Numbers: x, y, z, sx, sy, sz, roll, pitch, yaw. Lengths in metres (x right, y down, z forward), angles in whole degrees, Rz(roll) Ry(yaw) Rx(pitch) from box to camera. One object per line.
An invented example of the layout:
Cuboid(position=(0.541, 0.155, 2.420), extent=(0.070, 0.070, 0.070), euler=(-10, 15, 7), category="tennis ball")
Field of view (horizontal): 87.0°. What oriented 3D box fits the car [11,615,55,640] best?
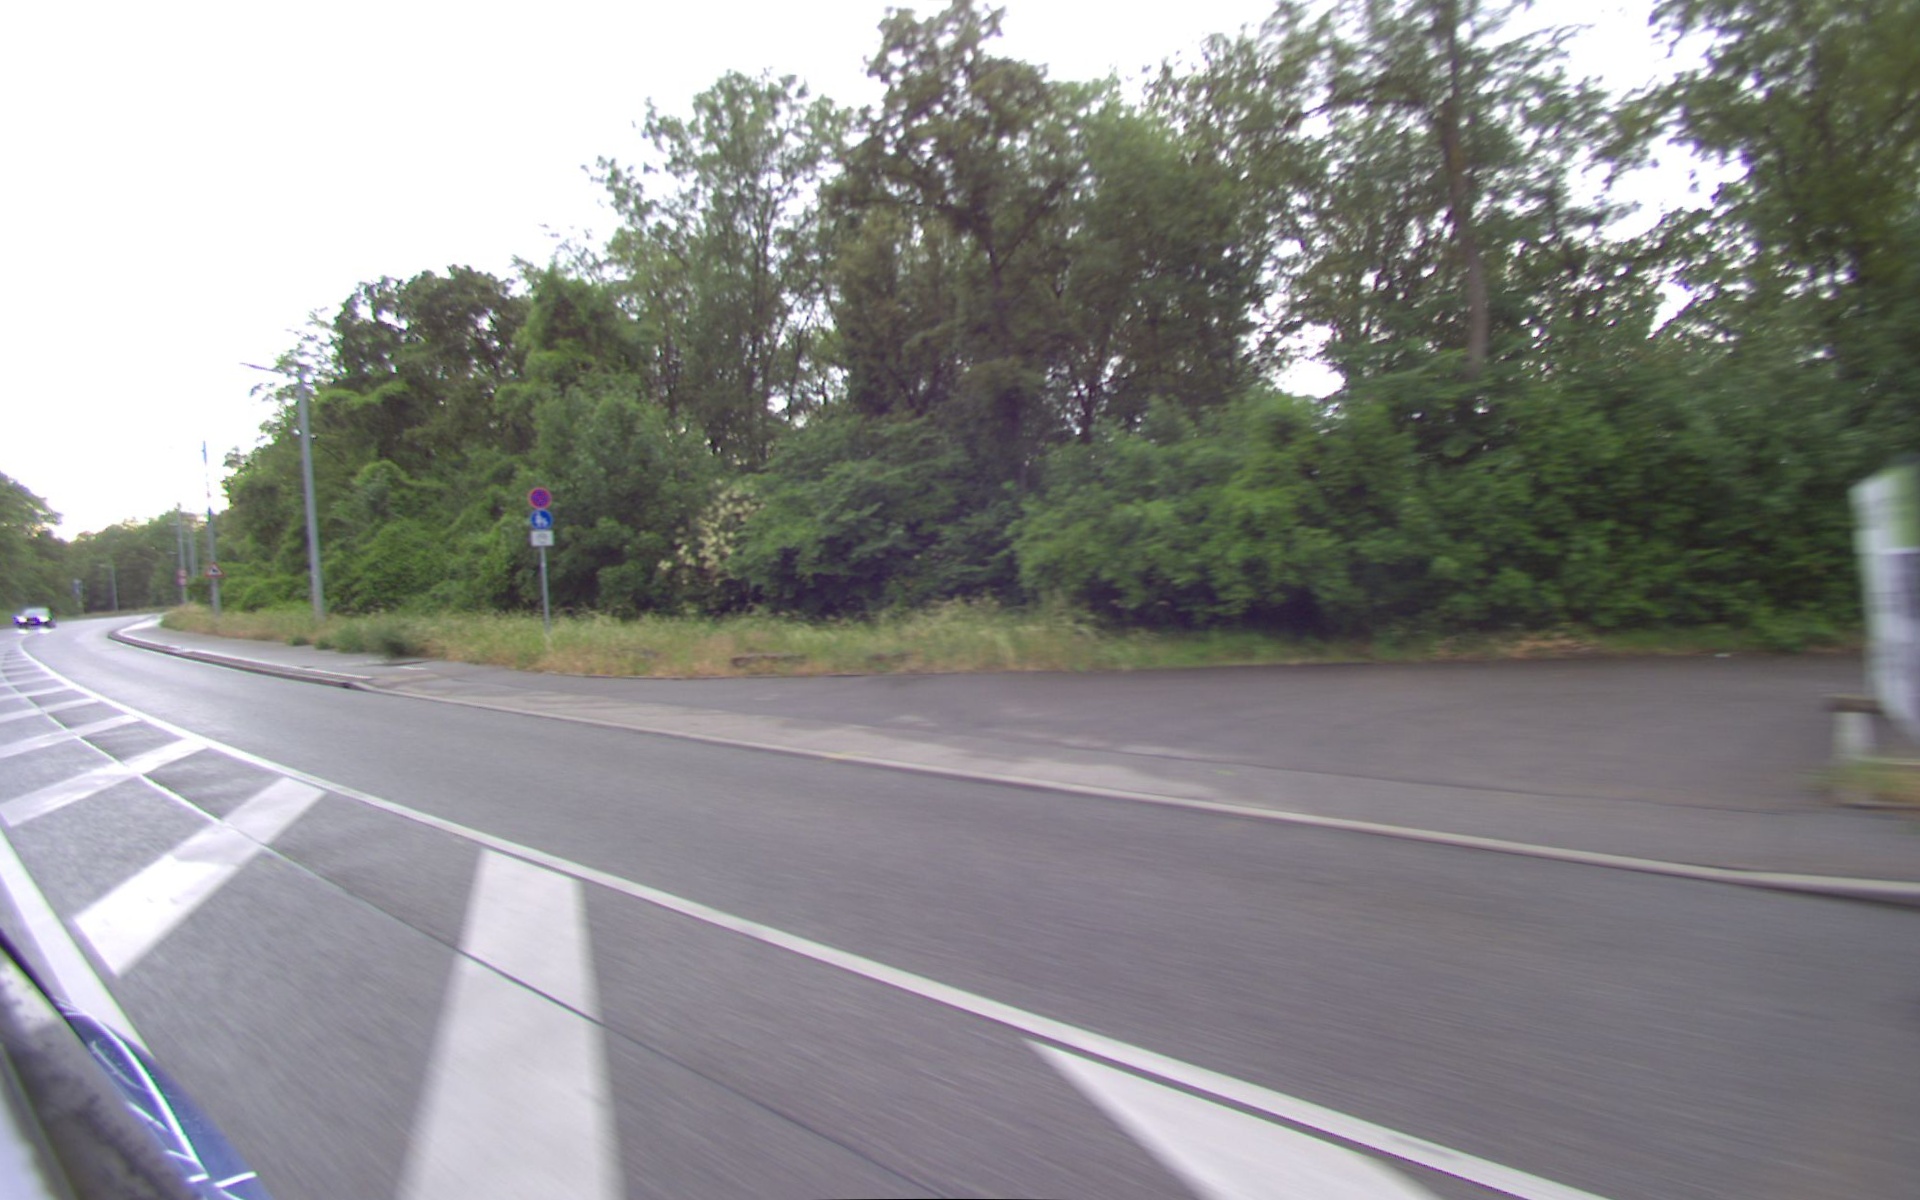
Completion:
Cuboid(position=(-66.810, 1.948, 72.961), extent=(1.968, 1.696, 4.008), euler=(-2, 1, -38), category="car")
